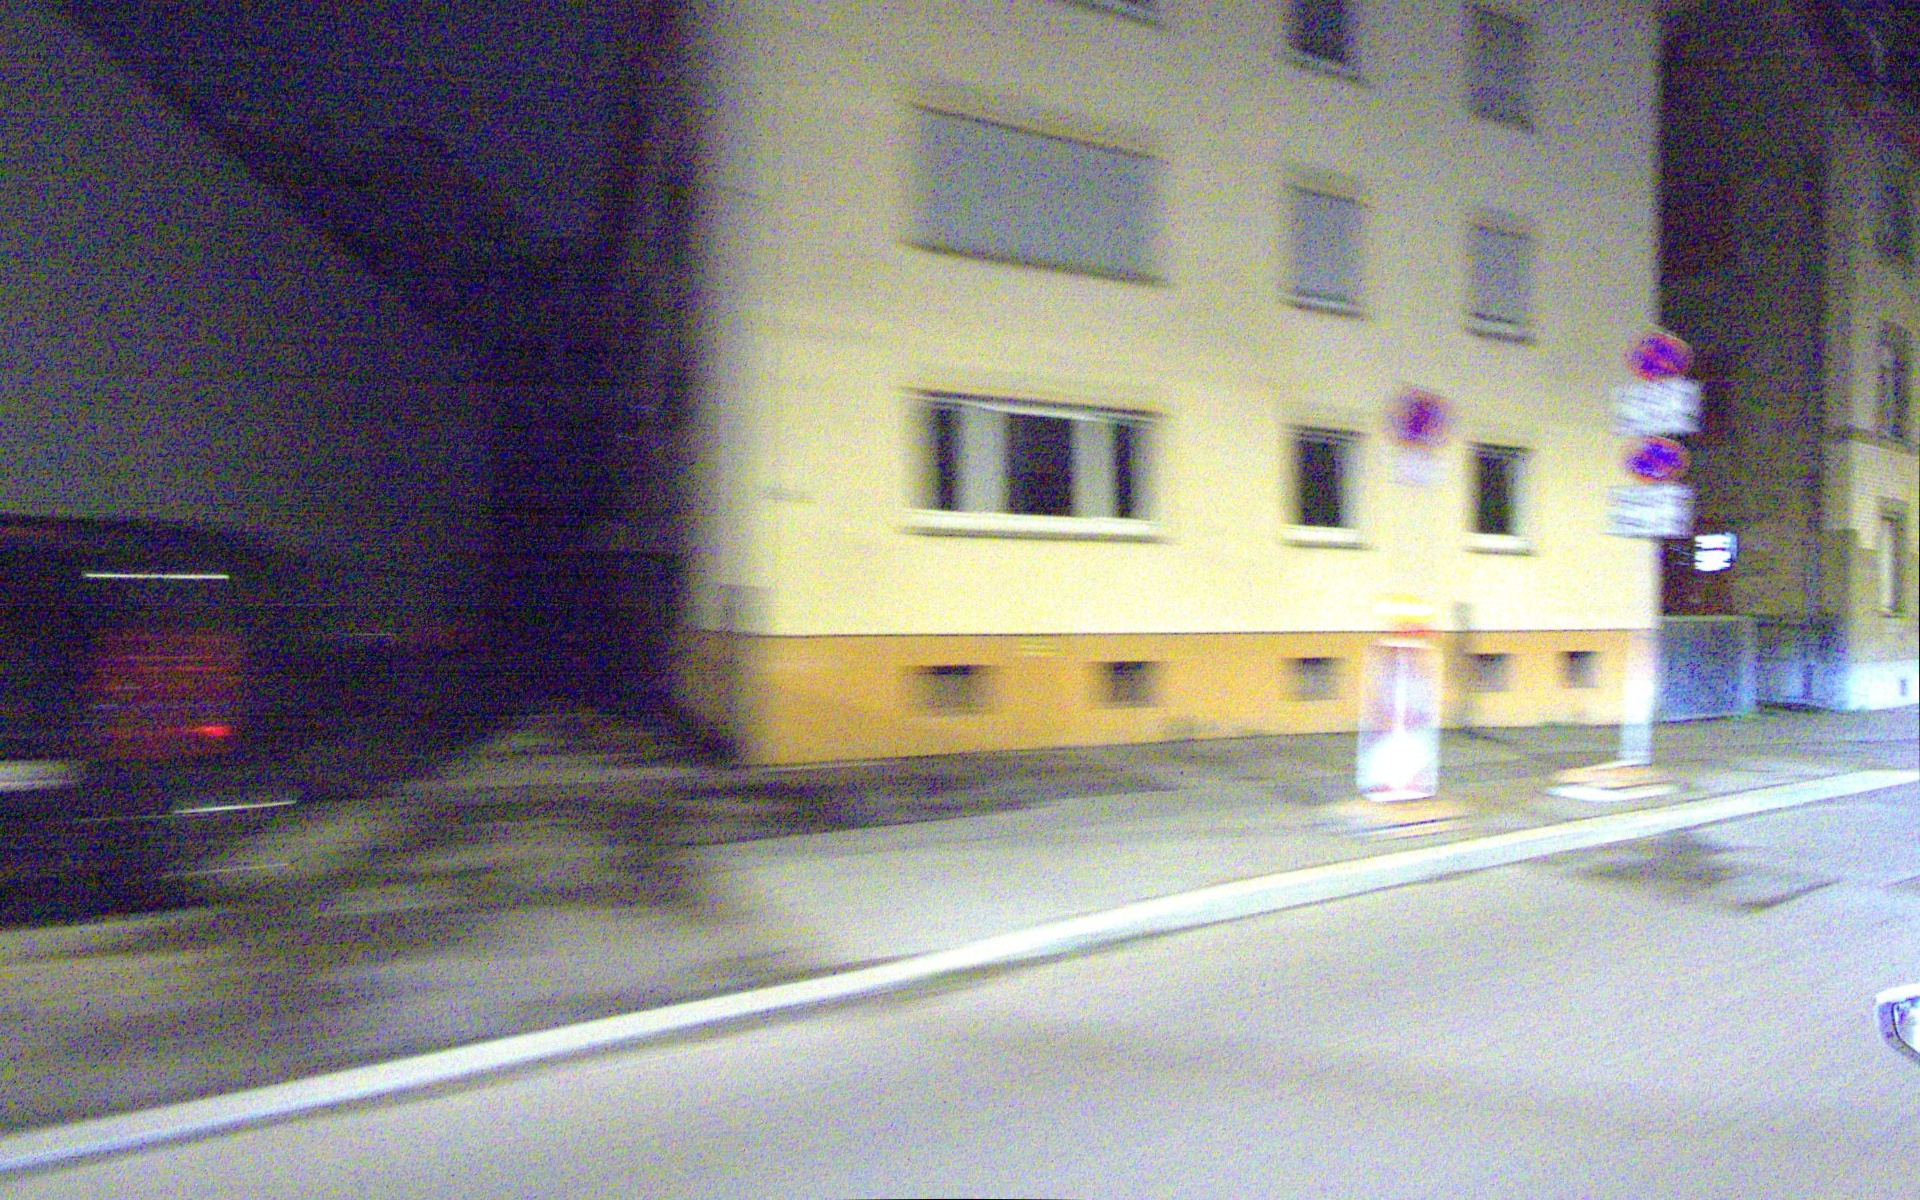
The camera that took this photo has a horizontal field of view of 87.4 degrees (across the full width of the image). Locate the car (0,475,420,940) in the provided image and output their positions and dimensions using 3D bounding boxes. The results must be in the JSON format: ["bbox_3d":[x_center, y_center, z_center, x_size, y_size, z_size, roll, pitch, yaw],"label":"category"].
[{"bbox_3d":[-4.715,0.459,5.981,1.879,1.914,3.985,1,-1,-18],"label":"car"}]
